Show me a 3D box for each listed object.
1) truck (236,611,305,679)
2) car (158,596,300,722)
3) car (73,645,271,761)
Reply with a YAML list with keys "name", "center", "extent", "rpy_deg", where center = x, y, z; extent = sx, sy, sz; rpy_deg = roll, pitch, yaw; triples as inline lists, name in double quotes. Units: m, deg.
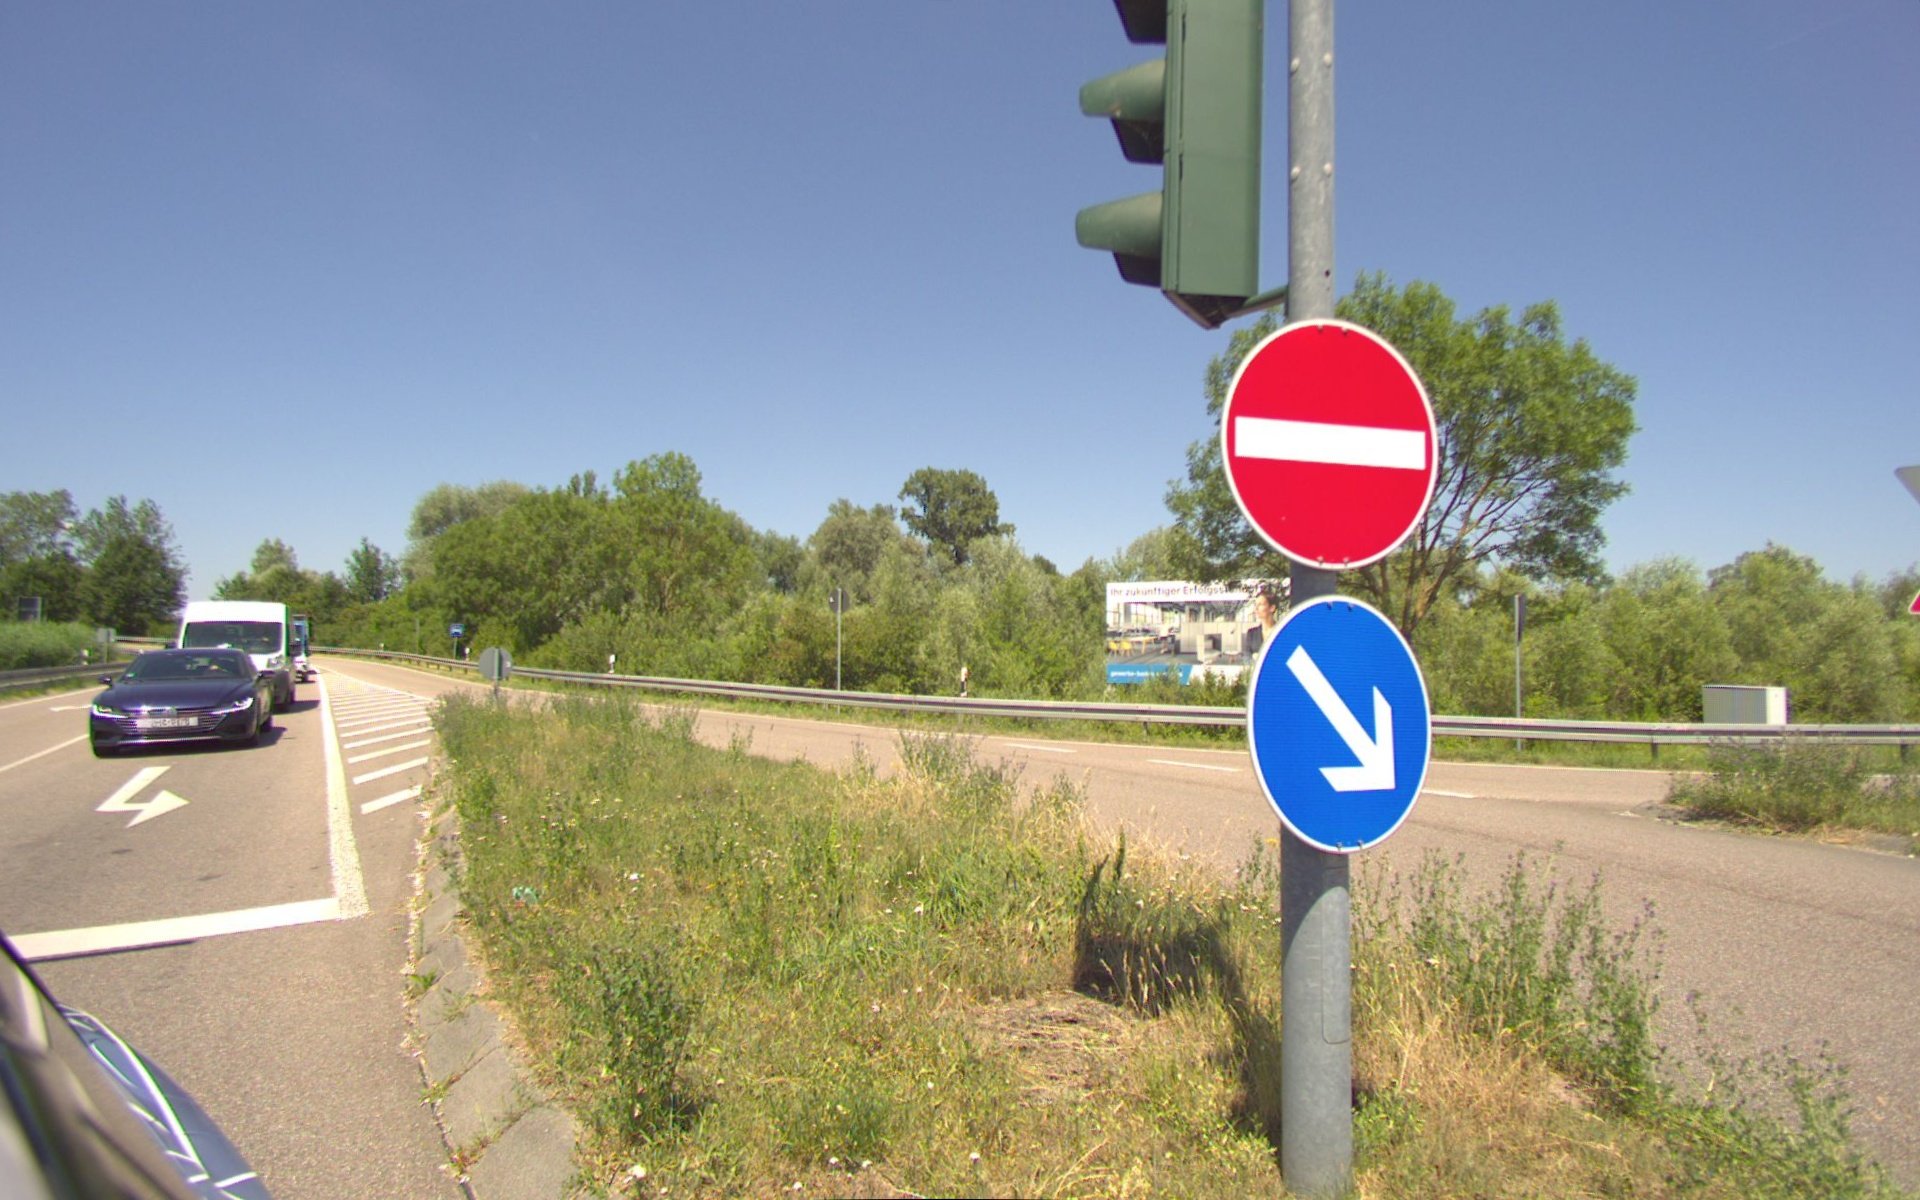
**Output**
- name: "truck"
  center: [-36.176, 2.406, 53.046]
  extent: [2.651, 3.220, 9.199]
  rpy_deg: [3, -4, -35]
- name: "car"
  center: [-16.613, 1.324, 23.308]
  extent: [2.192, 2.514, 5.999]
  rpy_deg: [1, -3, -32]
- name: "car"
  center: [-11.469, 1.396, 15.045]
  extent: [1.817, 1.434, 4.575]
  rpy_deg: [1, -3, -32]
